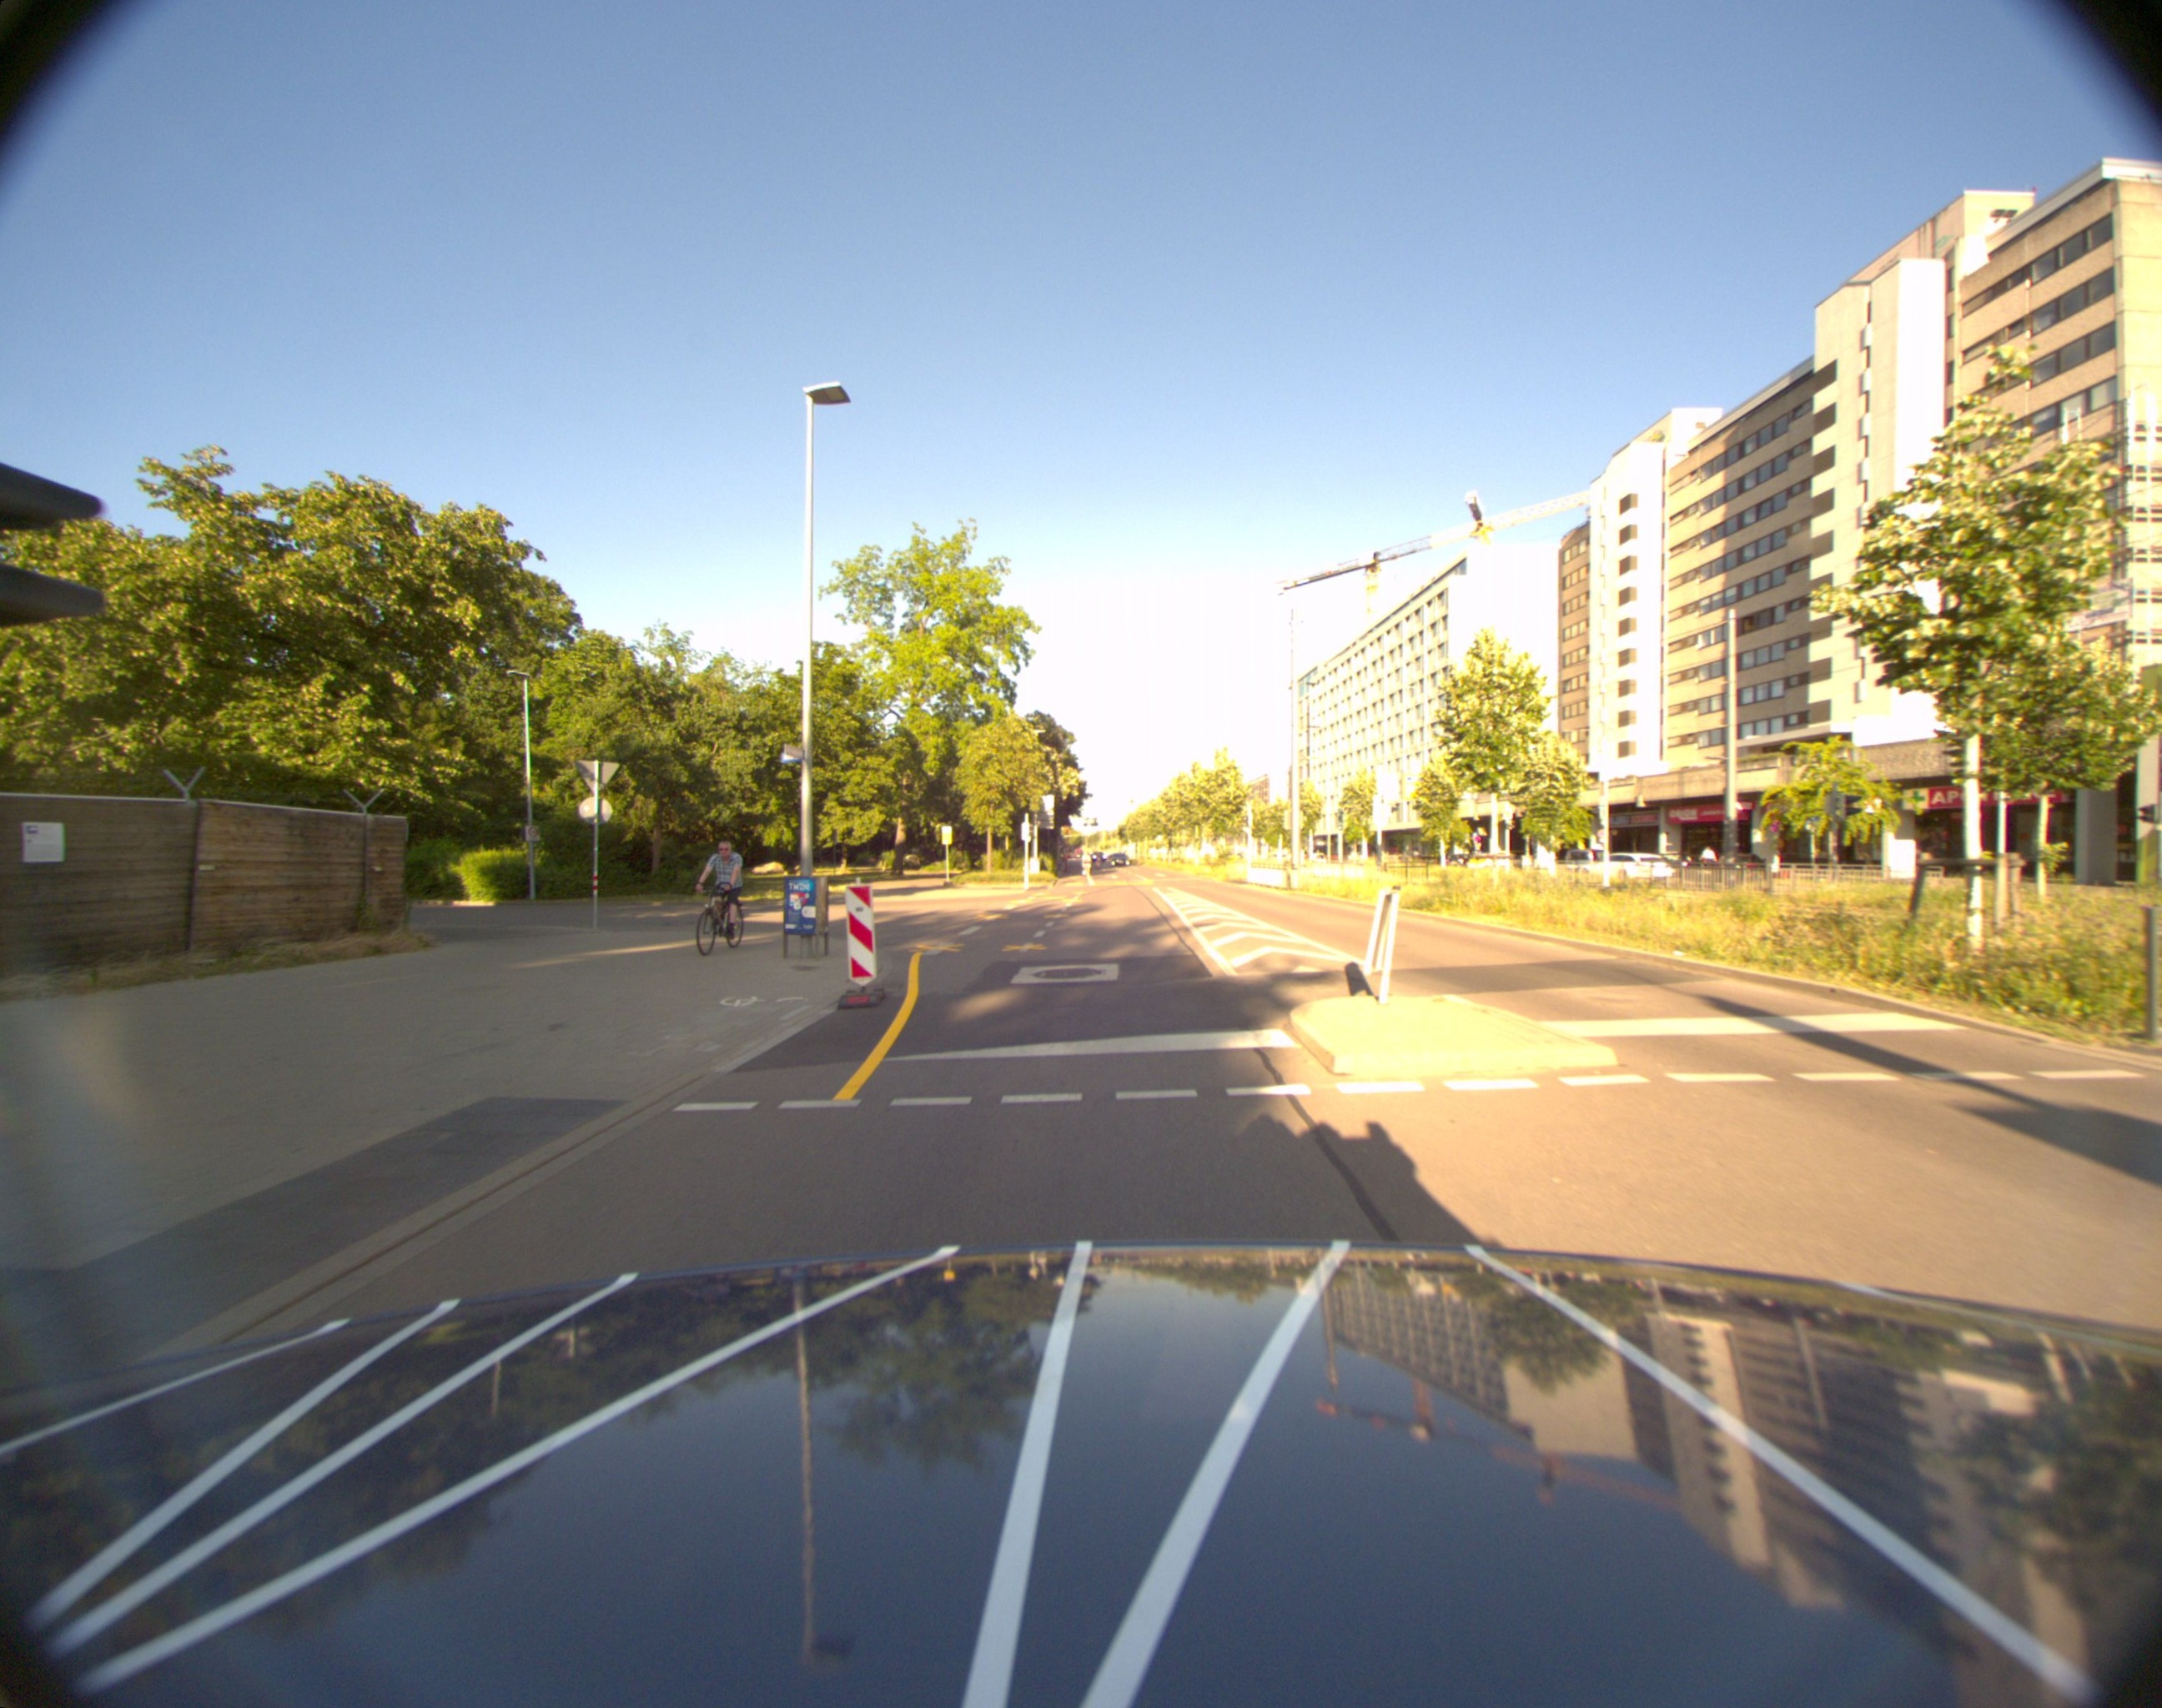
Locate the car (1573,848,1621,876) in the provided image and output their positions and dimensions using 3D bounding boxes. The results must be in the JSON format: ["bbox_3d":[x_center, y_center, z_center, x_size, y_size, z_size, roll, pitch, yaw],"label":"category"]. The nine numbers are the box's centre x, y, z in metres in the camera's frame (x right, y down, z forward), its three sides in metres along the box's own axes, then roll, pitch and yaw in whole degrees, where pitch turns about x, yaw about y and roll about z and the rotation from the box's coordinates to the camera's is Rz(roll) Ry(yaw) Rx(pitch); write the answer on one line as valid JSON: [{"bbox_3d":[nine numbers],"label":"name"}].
[{"bbox_3d":[34.547,0.526,50.819,4.204,1.681,1.617,-3,2,-41],"label":"car"}]

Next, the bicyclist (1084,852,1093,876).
[{"bbox_3d":[0.424,0.584,45.396,0.516,1.399,0.805,0,1,-1],"label":"bicyclist"}]

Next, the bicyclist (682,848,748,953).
[{"bbox_3d":[-5.832,0.717,12.141,0.585,1.605,0.903,0,1,0],"label":"bicyclist"}]

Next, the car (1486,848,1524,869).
[{"bbox_3d":[34.071,0.362,61.050,3.800,1.436,1.617,-3,2,-43],"label":"car"}]

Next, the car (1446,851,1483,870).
[{"bbox_3d":[34.143,0.563,67.608,1.616,1.436,4.555,-1,2,45],"label":"car"}]

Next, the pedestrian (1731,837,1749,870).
[{"bbox_3d":[40.602,-0.012,46.827,0.549,2.002,0.654,0,1,-1],"label":"pedestrian"}]

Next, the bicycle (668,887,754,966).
[{"bbox_3d":[-5.903,1.117,12.241,0.429,1.055,1.911,0,1,0],"label":"bicycle"}]

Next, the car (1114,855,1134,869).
[{"bbox_3d":[4.650,0.848,82.155,1.998,1.346,4.000,-1,1,1],"label":"car"}]

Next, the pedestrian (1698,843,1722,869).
[{"bbox_3d":[39.507,0.126,47.728,0.776,1.630,0.882,0,1,-1],"label":"pedestrian"}]

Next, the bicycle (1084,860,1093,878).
[{"bbox_3d":[0.429,0.904,45.267,0.506,1.018,1.505,-1,1,0],"label":"bicycle"}]

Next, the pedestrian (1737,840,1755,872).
[{"bbox_3d":[42.049,0.104,48.027,0.549,2.002,0.654,0,1,-1],"label":"pedestrian"}]

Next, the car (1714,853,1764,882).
[{"bbox_3d":[33.551,0.679,38.724,3.473,1.266,1.617,-3,2,-44],"label":"car"}]

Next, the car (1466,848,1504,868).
[{"bbox_3d":[33.971,0.315,63.907,1.785,1.436,3.808,-1,2,45],"label":"car"}]

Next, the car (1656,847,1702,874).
[{"bbox_3d":[34.959,0.377,44.406,3.473,1.394,1.617,-3,2,-44],"label":"car"}]

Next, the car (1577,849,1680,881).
[{"bbox_3d":[27.404,0.516,38.234,1.781,1.455,4.661,-1,1,-1],"label":"car"}]
